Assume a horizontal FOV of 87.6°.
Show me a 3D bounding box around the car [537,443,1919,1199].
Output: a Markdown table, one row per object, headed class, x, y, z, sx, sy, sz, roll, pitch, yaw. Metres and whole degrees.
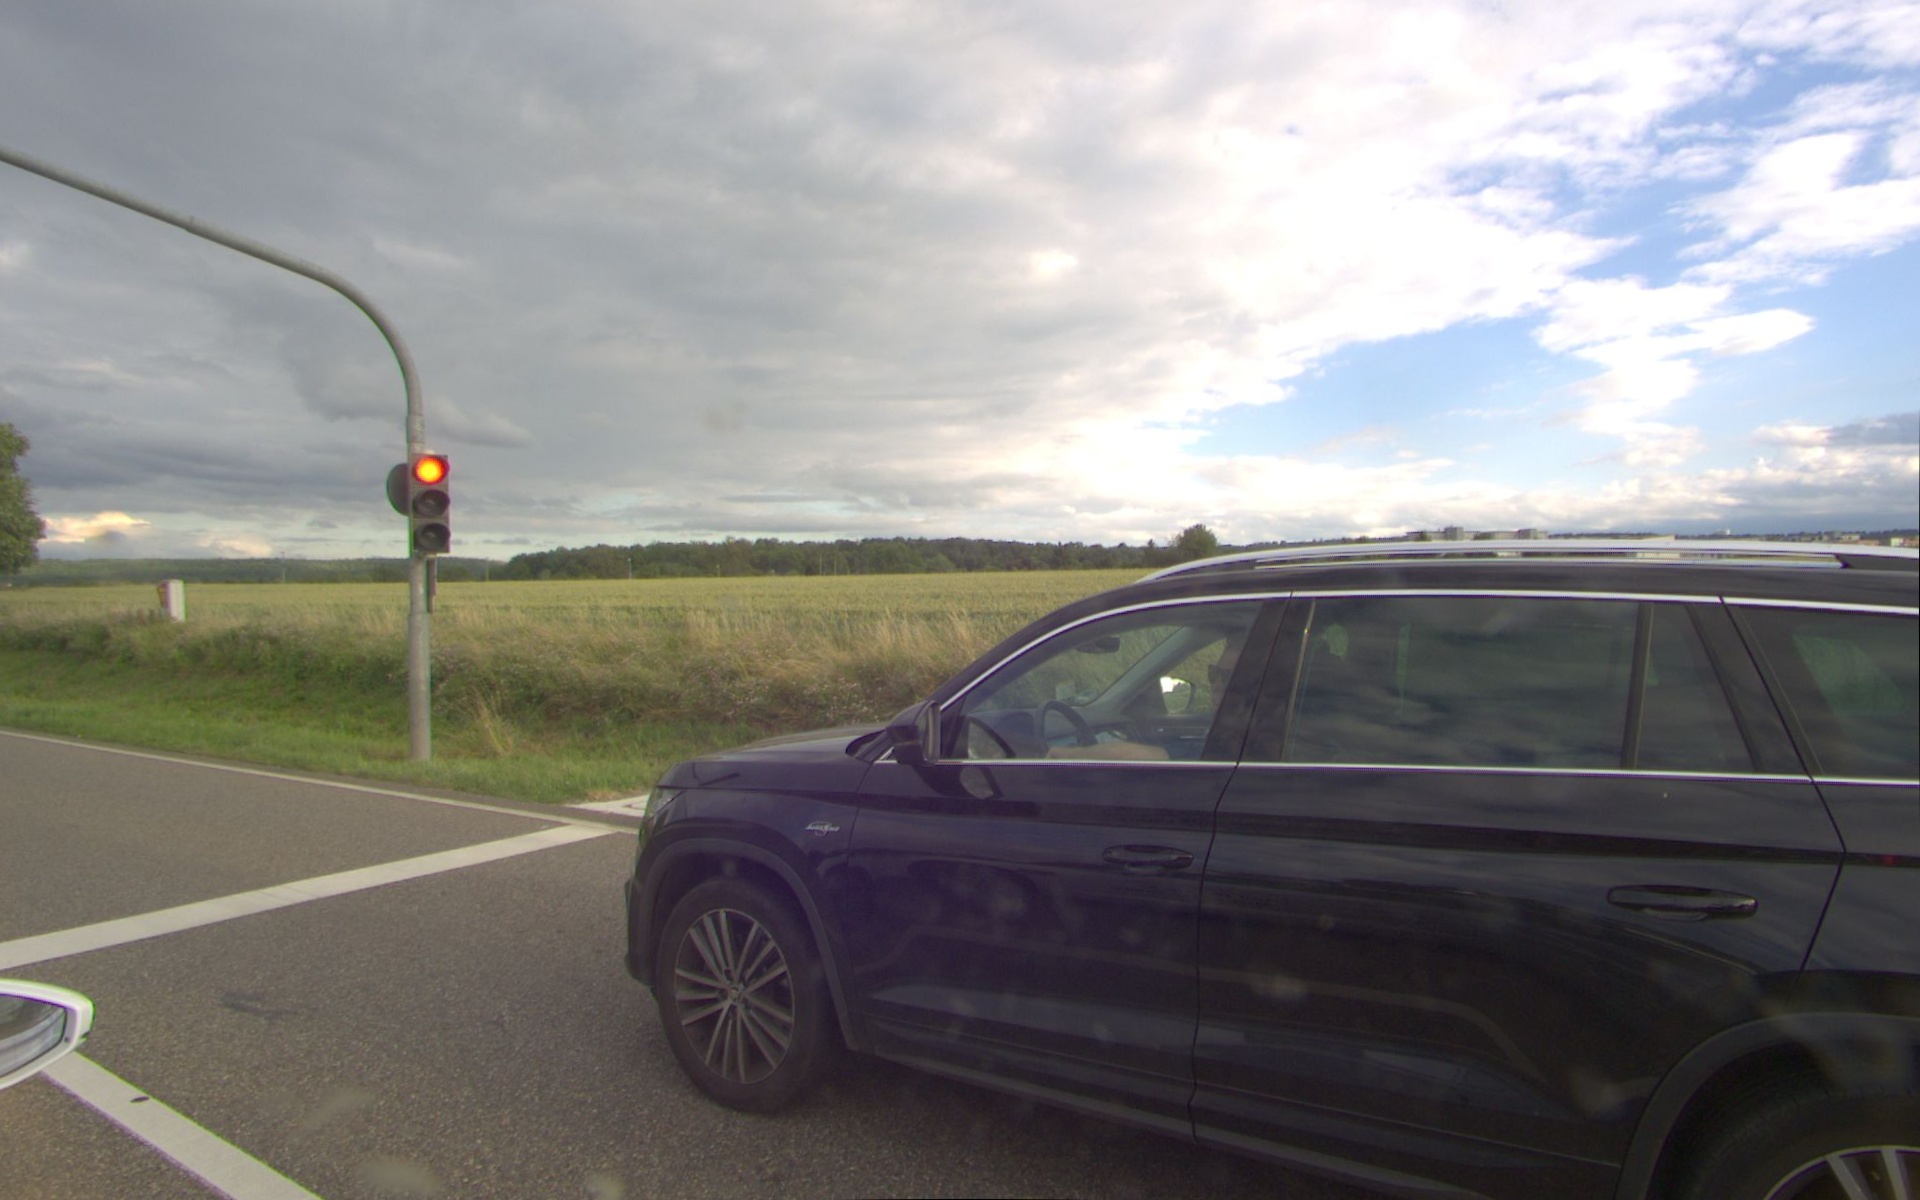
| class | x | y | z | sx | sy | sz | roll | pitch | yaw |
| --- | --- | --- | --- | --- | --- | --- | --- | --- | --- |
| car | 0.893 | 0.673 | 3.091 | 4.492 | 1.730 | 1.833 | -1 | -2 | 32 |
